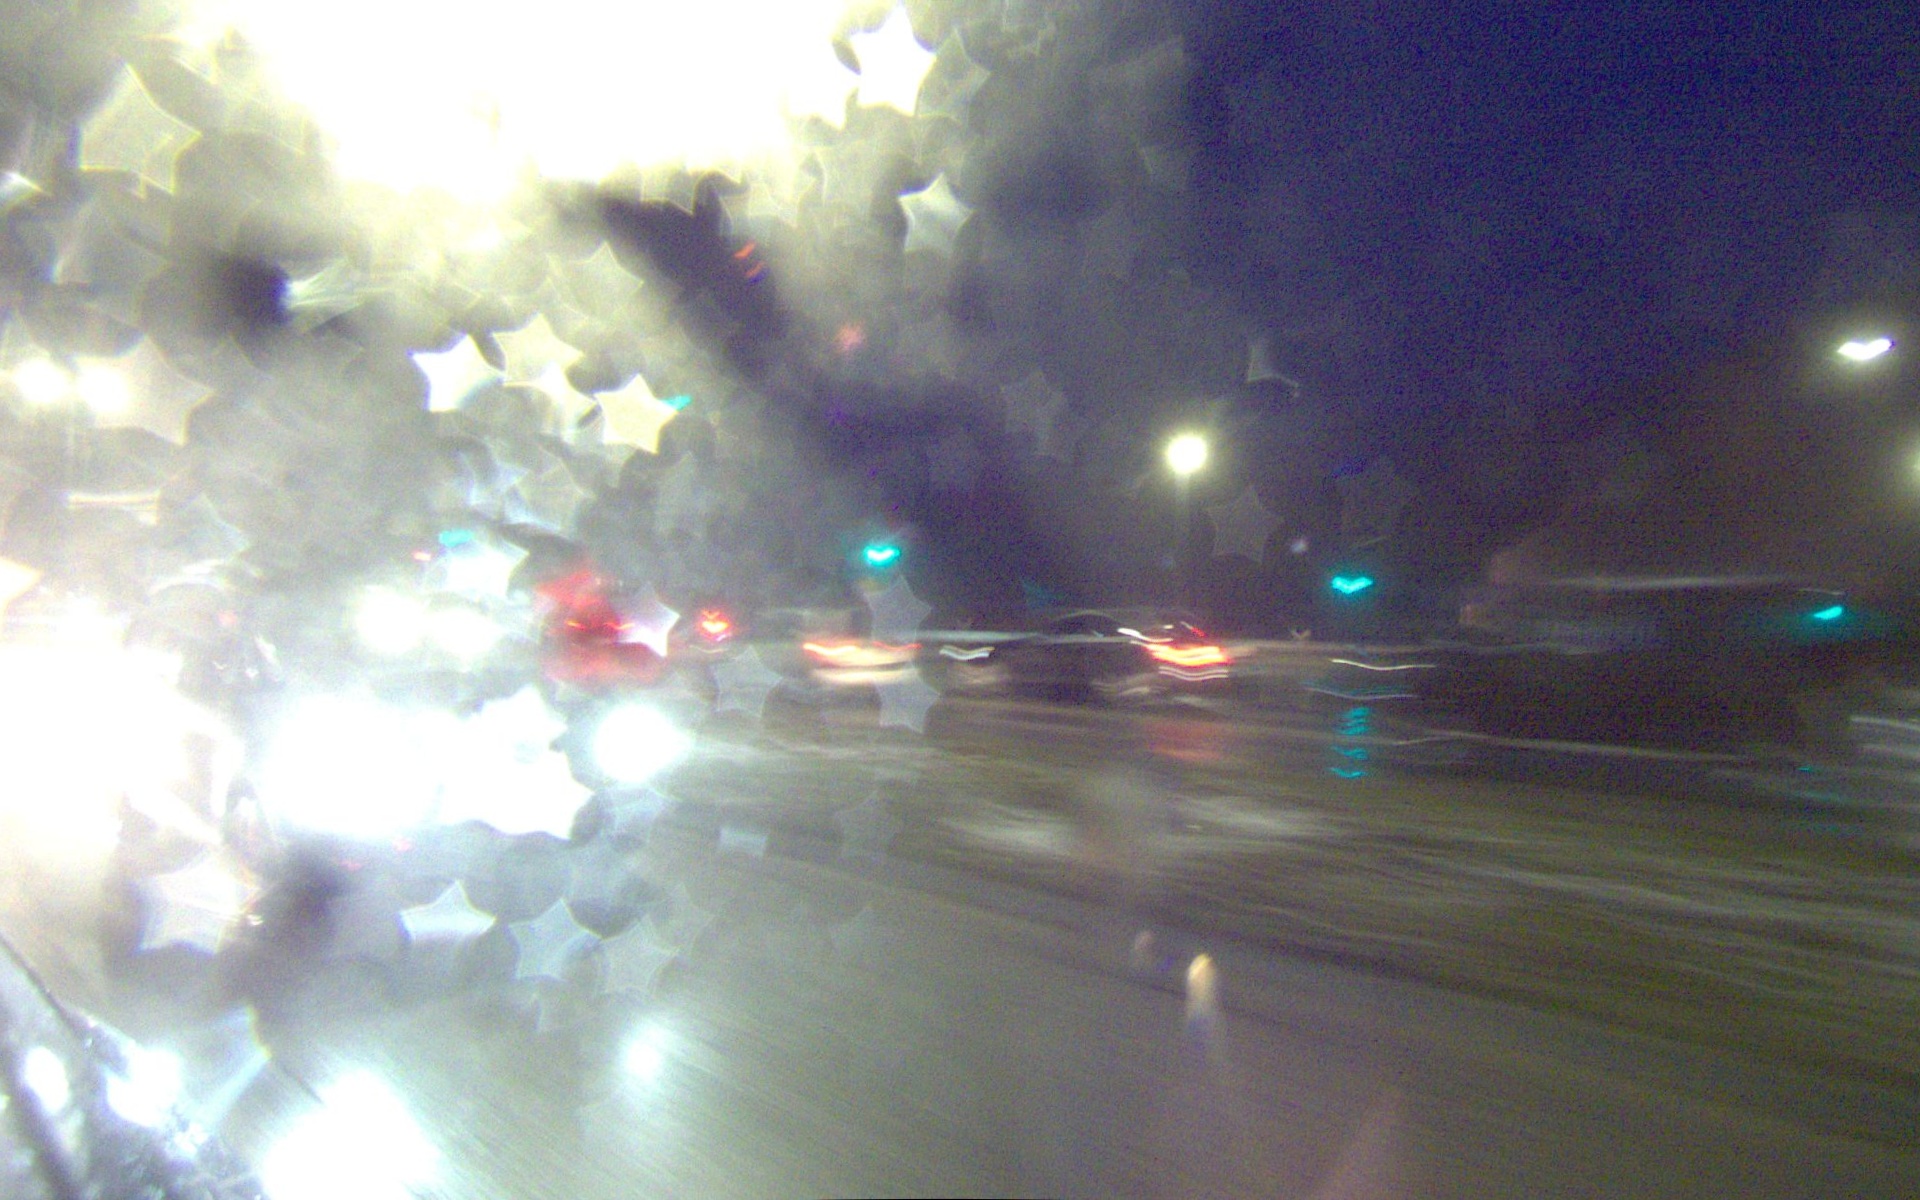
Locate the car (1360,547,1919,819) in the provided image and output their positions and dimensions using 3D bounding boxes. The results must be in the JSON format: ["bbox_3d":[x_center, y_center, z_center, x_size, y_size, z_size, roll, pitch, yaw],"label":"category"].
[{"bbox_3d":[5.591,0.523,8.057,4.145,1.716,1.698,1,0,45],"label":"car"}]

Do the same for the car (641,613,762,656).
[{"bbox_3d":[-9.852,1.298,38.803,4.079,1.460,2.180,1,0,0],"label":"car"}]

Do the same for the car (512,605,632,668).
[{"bbox_3d":[-10.225,0.909,26.542,1.648,1.464,3.732,1,0,-43],"label":"car"}]

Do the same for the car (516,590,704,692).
[{"bbox_3d":[-6.716,0.694,19.233,3.947,1.704,1.663,1,0,42],"label":"car"}]

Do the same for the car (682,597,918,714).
[{"bbox_3d":[-2.521,0.757,15.484,3.650,1.537,1.569,1,0,41],"label":"car"}]

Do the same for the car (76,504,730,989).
[{"bbox_3d":[-3.591,0.544,5.965,4.938,1.717,1.889,0,-1,43],"label":"car"}]

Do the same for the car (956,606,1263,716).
[{"bbox_3d":[2.132,0.813,15.313,4.409,1.364,1.699,1,0,42],"label":"car"}]

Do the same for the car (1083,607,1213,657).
[{"bbox_3d":[7.765,1.318,41.932,4.842,1.954,2.005,1,0,-12],"label":"car"}]

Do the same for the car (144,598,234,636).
[{"bbox_3d":[-34.226,0.724,44.884,4.902,1.583,1.776,0,-1,35],"label":"car"}]

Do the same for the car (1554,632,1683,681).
[{"bbox_3d":[27.048,2.293,41.752,4.071,1.796,1.986,1,0,21],"label":"car"}]
